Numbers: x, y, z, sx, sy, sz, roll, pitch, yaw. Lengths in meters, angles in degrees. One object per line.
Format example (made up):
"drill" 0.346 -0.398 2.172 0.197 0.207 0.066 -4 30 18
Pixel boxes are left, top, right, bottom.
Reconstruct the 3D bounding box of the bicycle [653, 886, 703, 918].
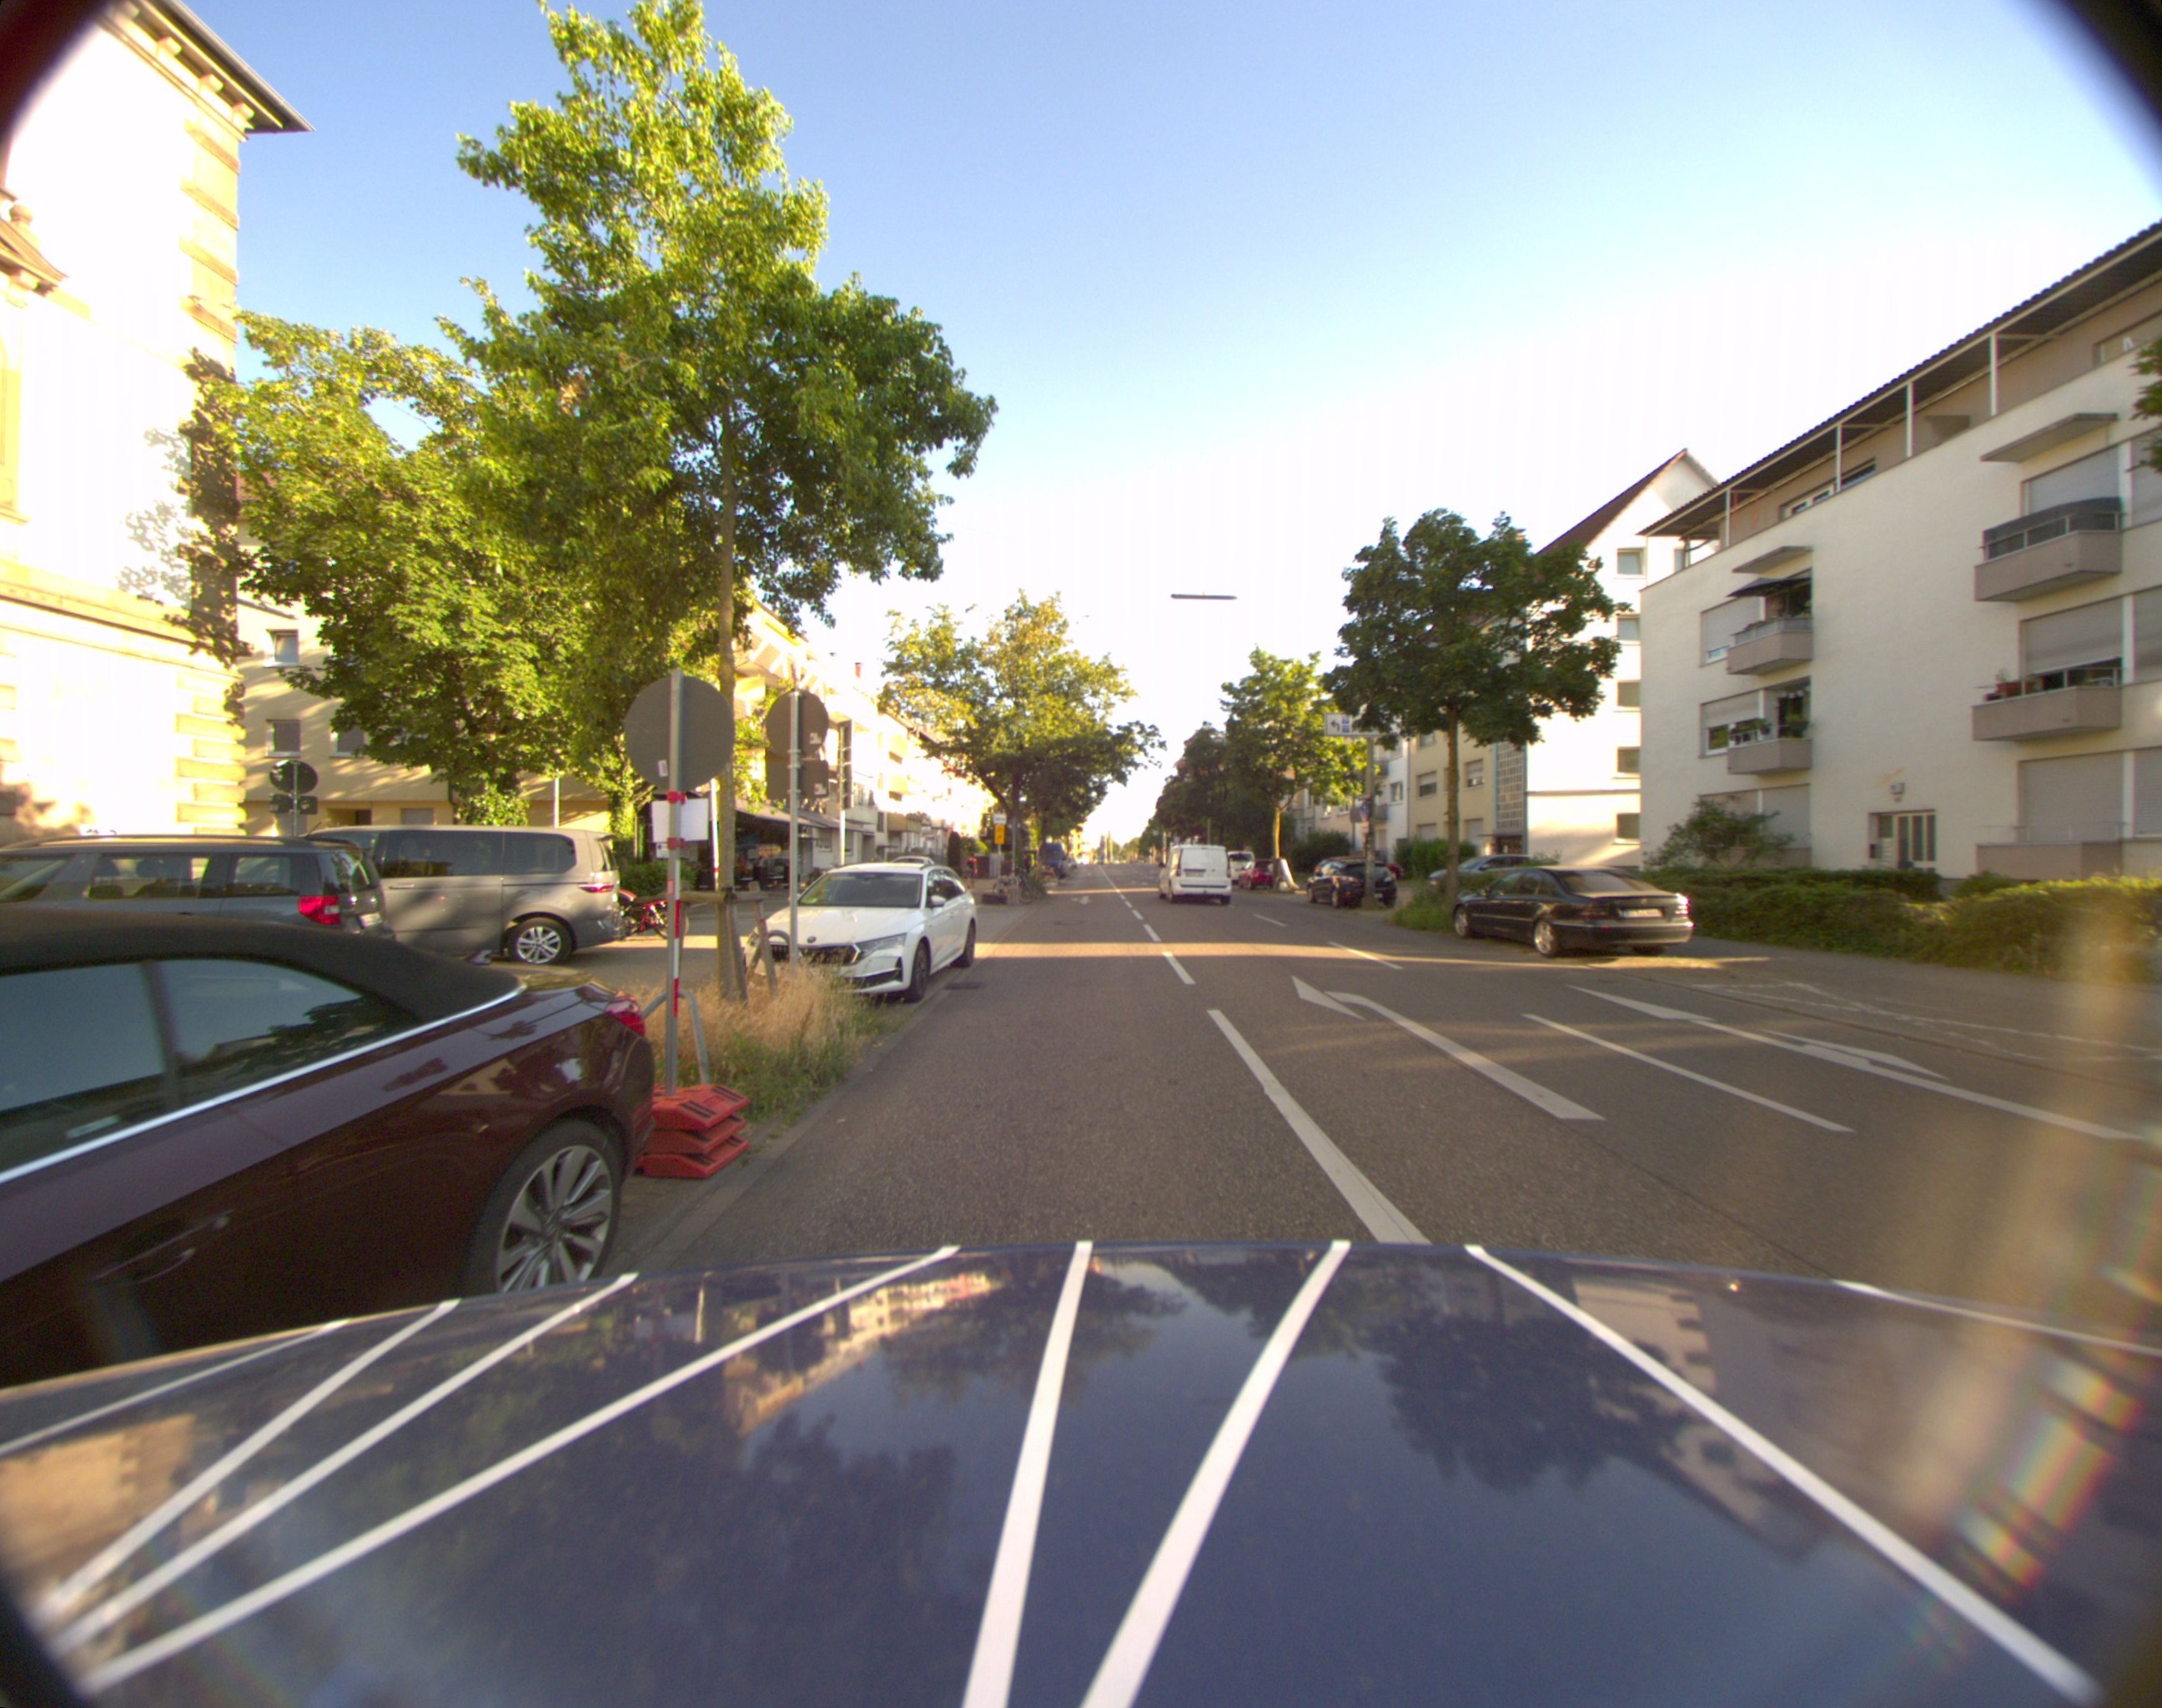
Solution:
"bicycle" -10.847 1.288 20.511 0.486 0.763 1.531 0 0 2

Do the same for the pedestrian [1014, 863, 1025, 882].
"pedestrian" -3.595 1.071 44.190 0.553 1.053 0.532 0 1 2

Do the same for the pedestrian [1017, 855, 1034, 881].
"pedestrian" -3.118 0.791 42.893 0.917 1.435 0.811 0 1 -1

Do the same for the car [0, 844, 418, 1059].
"car" -8.858 0.764 6.807 4.106 1.689 1.783 0 0 -29

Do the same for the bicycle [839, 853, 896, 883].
"bicycle" -10.259 0.661 36.592 2.459 1.433 0.928 0 1 -1

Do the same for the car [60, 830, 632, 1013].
"car" -8.758 0.678 9.835 4.946 1.888 1.916 0 0 -28

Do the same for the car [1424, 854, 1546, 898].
"car" 14.359 0.773 27.132 3.467 1.515 1.686 0 0 2

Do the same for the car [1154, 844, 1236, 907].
"car" 3.553 0.630 24.570 1.893 1.793 4.430 1 0 -1

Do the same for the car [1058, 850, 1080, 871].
"car" -1.050 0.535 66.477 1.704 1.739 4.000 0 0 2

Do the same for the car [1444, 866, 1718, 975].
"car" 7.894 0.946 12.598 1.641 1.399 4.444 0 0 0

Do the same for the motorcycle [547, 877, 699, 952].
"motorcycle" -8.084 1.040 13.503 2.163 1.232 0.789 0 1 -9

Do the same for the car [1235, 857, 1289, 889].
"car" 8.547 0.864 36.211 1.740 1.455 3.636 0 0 1

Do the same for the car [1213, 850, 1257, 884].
"car" 8.665 0.685 43.080 1.740 1.799 4.192 0 0 1

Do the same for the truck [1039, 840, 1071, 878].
"truck" -1.857 0.317 55.816 1.998 2.629 5.616 0 0 1

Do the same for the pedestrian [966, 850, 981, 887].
"pedestrian" -5.096 0.698 36.141 0.619 1.761 0.562 0 0 2

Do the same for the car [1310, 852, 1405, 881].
"car" 15.001 0.654 41.321 4.563 1.397 1.739 -2 1 -9

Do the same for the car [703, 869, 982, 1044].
"car" -2.459 0.978 9.187 1.825 1.469 4.621 0 0 1

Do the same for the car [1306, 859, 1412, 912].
"car" 8.455 0.900 23.498 1.862 1.477 4.000 0 0 1

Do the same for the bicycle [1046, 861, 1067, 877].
"bicycle" -1.677 1.016 52.274 1.469 1.058 0.445 0 1 1

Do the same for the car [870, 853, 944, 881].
"car" -9.735 0.731 42.728 3.878 1.496 1.575 0 0 -4

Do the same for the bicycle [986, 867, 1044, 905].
"bicycle" -2.248 1.061 25.618 1.894 1.155 0.616 2 1 28

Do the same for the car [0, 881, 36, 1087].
"car" -9.220 0.862 3.974 4.105 1.432 1.713 2 0 -22

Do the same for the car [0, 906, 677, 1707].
"car" -2.673 0.964 0.995 1.761 1.412 4.614 2 0 0
